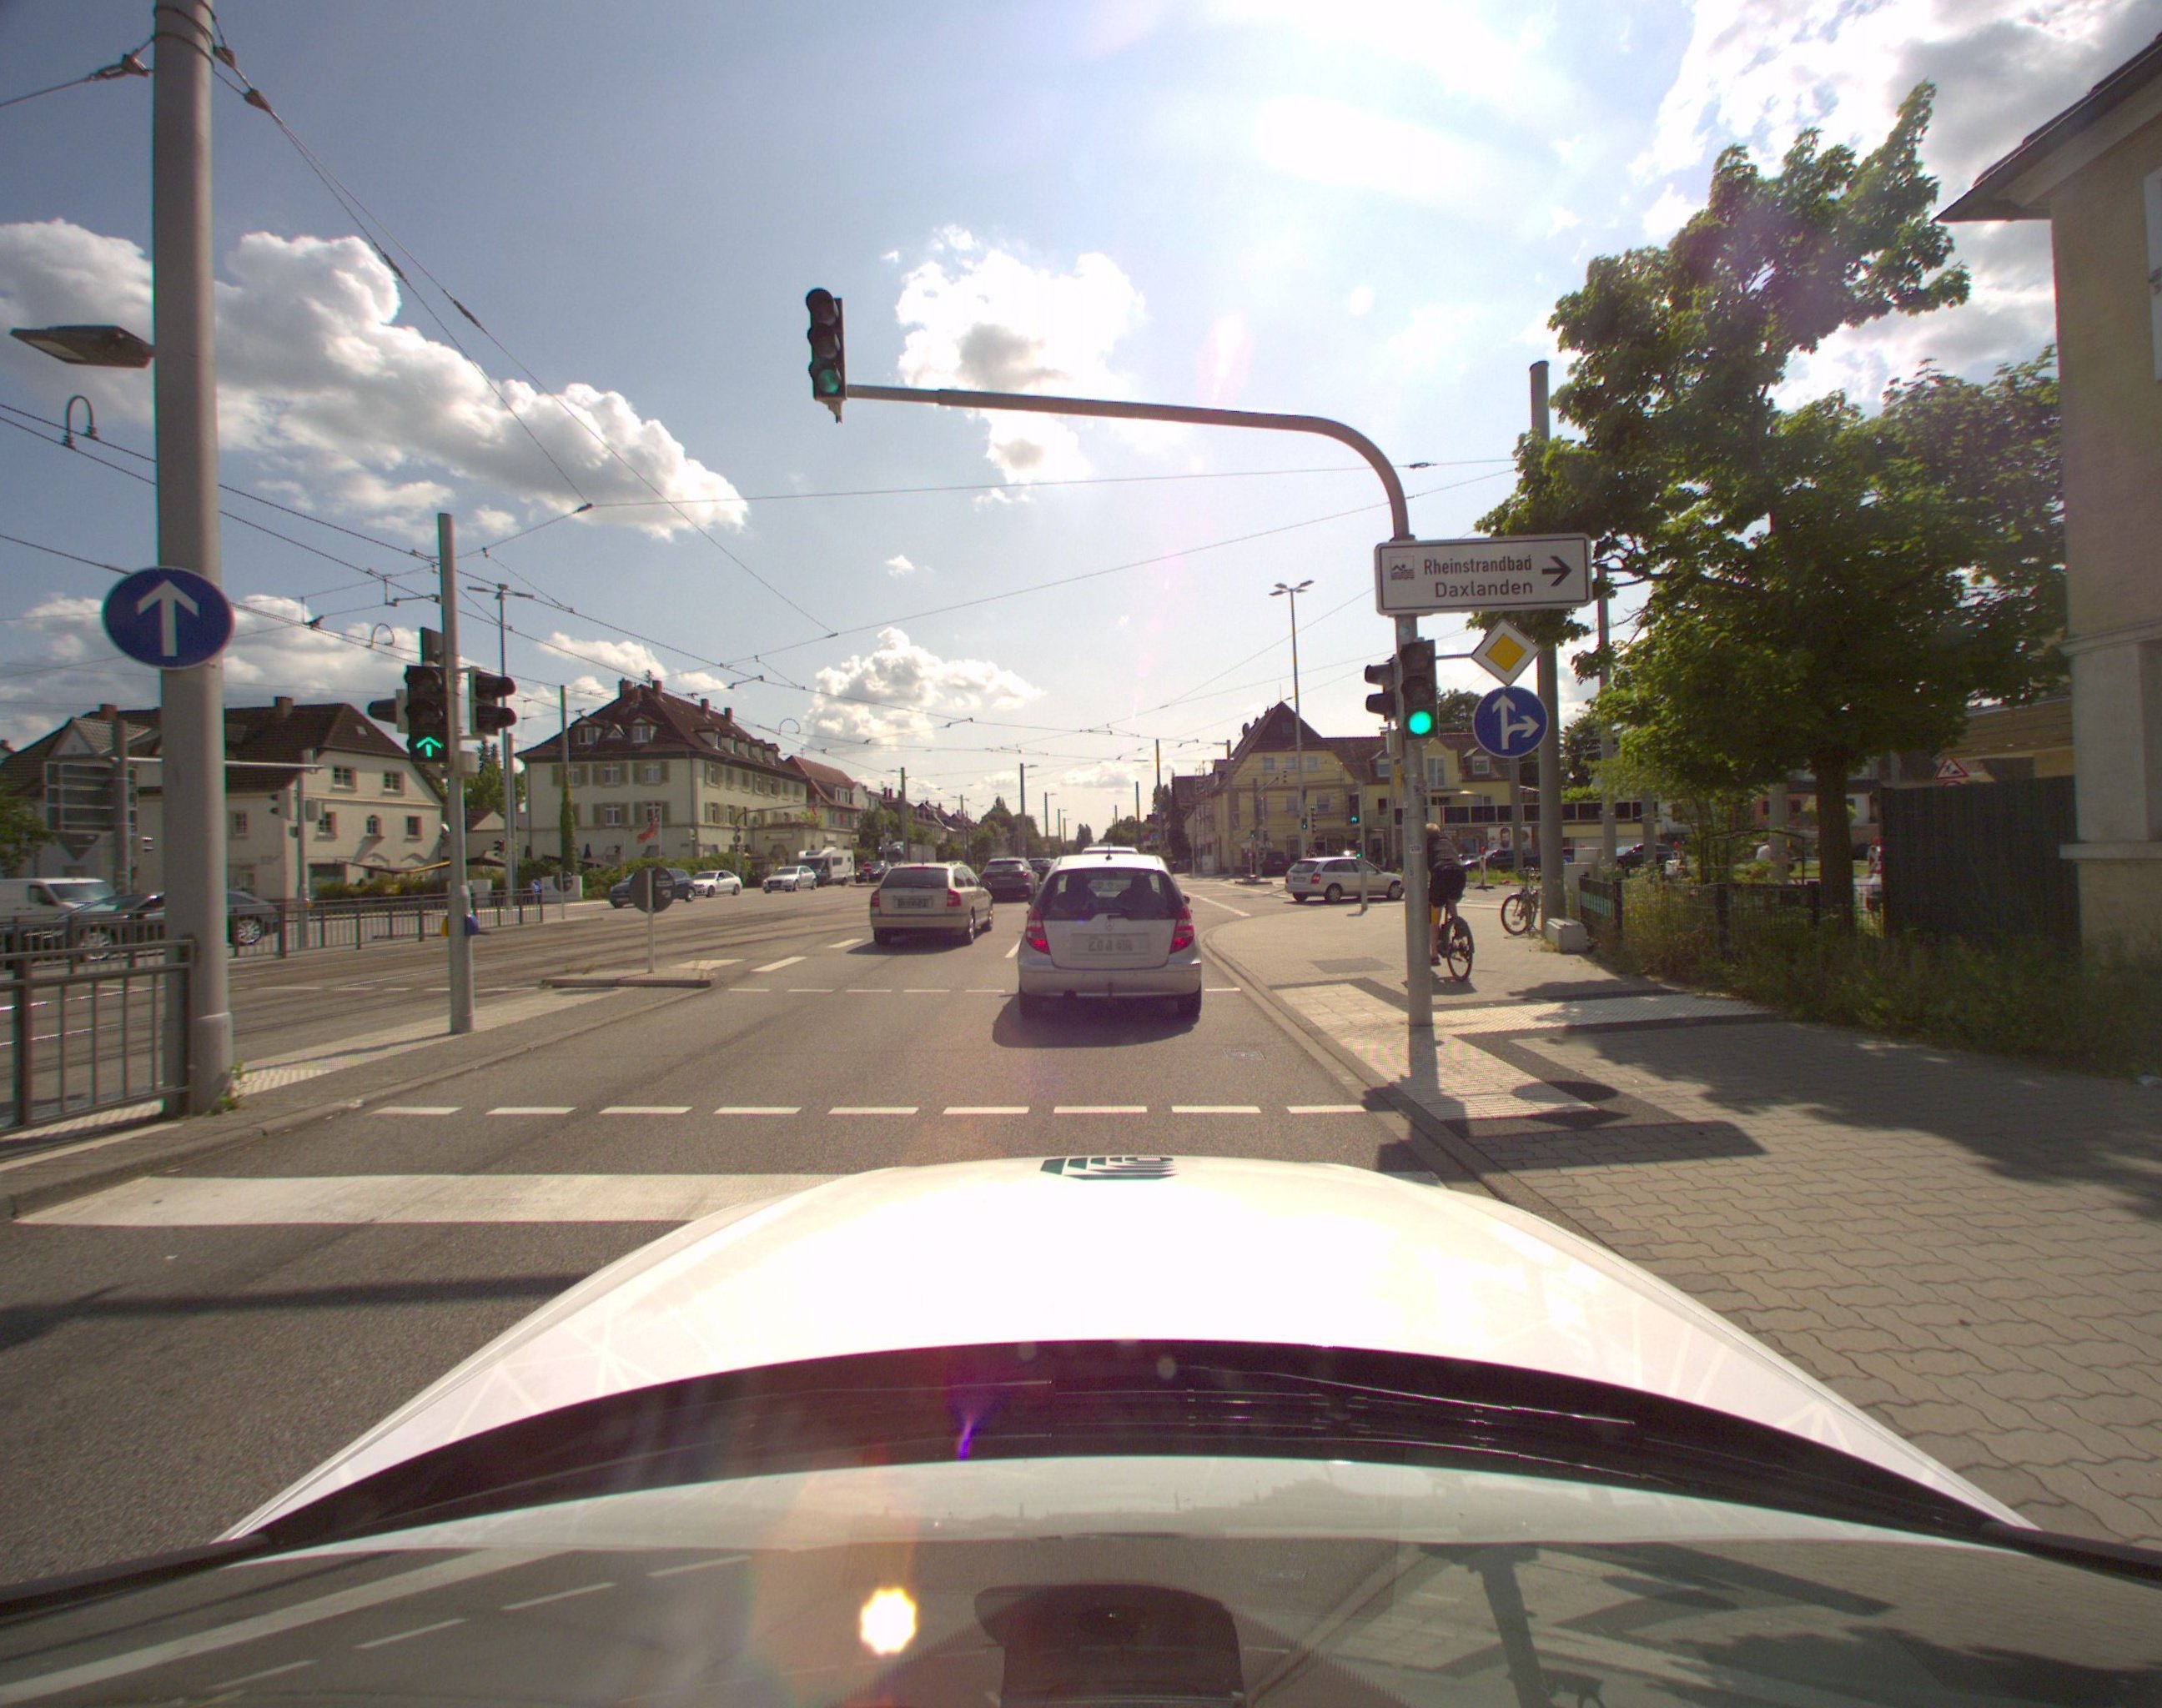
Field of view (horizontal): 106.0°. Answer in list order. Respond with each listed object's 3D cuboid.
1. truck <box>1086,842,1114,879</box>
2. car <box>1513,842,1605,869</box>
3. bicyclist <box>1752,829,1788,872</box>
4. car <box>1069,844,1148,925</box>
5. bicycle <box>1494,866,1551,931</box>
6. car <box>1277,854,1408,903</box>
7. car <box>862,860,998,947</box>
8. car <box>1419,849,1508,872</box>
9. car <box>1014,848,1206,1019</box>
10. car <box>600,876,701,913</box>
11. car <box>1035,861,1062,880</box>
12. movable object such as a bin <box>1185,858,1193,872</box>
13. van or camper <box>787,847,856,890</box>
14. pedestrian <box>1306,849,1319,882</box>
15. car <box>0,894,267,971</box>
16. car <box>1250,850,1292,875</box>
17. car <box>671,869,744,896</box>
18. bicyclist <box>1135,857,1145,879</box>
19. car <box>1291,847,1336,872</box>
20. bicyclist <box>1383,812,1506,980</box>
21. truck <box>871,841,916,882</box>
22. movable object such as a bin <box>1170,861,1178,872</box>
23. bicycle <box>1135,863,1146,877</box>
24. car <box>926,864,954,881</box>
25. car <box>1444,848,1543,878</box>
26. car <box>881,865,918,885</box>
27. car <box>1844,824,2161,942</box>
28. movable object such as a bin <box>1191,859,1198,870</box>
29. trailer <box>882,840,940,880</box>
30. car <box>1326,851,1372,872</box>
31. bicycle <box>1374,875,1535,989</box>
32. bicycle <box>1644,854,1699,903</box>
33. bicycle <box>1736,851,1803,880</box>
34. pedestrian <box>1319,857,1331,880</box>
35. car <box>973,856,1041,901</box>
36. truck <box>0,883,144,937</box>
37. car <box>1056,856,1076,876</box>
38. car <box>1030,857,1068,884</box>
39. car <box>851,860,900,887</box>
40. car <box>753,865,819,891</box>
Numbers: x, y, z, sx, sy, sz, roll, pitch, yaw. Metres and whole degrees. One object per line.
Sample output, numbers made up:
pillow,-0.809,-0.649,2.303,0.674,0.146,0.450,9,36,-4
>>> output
truck,1.318,0.513,59.010,1.846,2.552,5.853,0,-1,0
car,27.463,0.099,46.893,4.304,1.474,1.738,0,-1,-2
bicyclist,20.148,-0.108,23.818,0.575,1.234,0.508,-2,-1,-4
car,0.594,0.698,19.808,1.724,1.762,4.015,0,-1,0
bicycle,7.438,0.717,13.689,0.457,1.018,1.767,-1,-1,41
car,8.413,0.754,26.103,4.028,1.403,1.719,0,2,-30
car,-2.728,0.858,15.603,1.724,1.449,4.124,0,-1,2
car,21.840,0.372,46.576,4.304,1.308,1.738,0,-1,-2
car,0.238,0.742,9.327,1.725,1.517,4.014,0,-1,-1
car,-17.042,1.559,32.466,1.678,1.352,4.179,0,-1,2
car,-2.331,1.208,59.788,1.846,1.388,3.917,0,-1,0
movable object such as a bin,8.679,0.869,65.593,0.509,1.105,0.855,-1,-1,2
van or camper,-19.081,1.018,60.357,2.315,2.930,7.757,-2,0,2
pedestrian,11.596,0.568,40.775,0.544,1.643,0.402,0,-1,6
car,-21.130,1.648,18.090,1.679,1.352,4.344,0,-1,0
car,12.701,0.566,54.745,1.986,1.596,4.132,0,-1,2
car,-19.913,1.488,43.657,1.677,1.352,4.349,0,-1,4
bicyclist,4.849,1.141,66.455,0.649,1.738,0.982,0,-1,-6
car,15.726,0.409,55.271,1.986,1.596,4.132,0,-1,2
bicyclist,4.167,0.456,9.427,0.826,1.794,1.083,-3,0,-3
truck,-18.545,0.697,80.870,2.588,3.821,5.673,-4,0,4
movable object such as a bin,7.473,1.018,65.501,0.509,0.918,0.742,-1,-1,2
bicycle,4.826,1.273,66.351,0.649,1.117,1.585,0,-1,-5
car,-14.813,1.953,85.732,1.787,1.637,4.474,-3,-1,3
car,21.405,0.469,42.356,4.304,1.328,1.738,-3,-1,-2
car,-15.610,1.794,70.319,1.986,1.552,4.179,-5,-1,2
car,14.470,0.392,12.473,4.099,1.597,1.797,-1,0,-5
movable object such as a bin,9.934,0.914,71.348,0.466,0.947,0.558,-2,-1,1
trailer,-18.120,0.546,87.829,2.588,3.821,12.849,-4,0,4
car,17.960,0.508,54.811,1.861,1.351,4.132,0,-1,2
bicycle,4.196,0.830,9.362,0.826,1.075,1.969,-3,0,-3
bicycle,14.223,0.578,19.599,1.577,1.138,0.378,0,-1,-27
bicycle,20.119,0.341,23.806,1.576,0.781,0.504,-2,-1,-4
pedestrian,12.208,0.741,40.695,0.486,1.136,0.389,0,-1,1
car,-2.549,0.822,29.087,1.910,1.477,4.562,0,-1,1
truck,-38.864,2.054,30.377,6.158,1.922,1.691,0,-1,3
car,-1.381,1.161,78.325,1.846,1.843,3.917,0,-1,0
car,-1.679,0.879,43.795,1.846,1.388,4.513,0,-1,0
car,-15.238,1.436,60.711,1.985,1.776,4.883,-3,0,4
car,-16.372,1.320,45.434,1.986,1.352,4.179,0,-1,2
